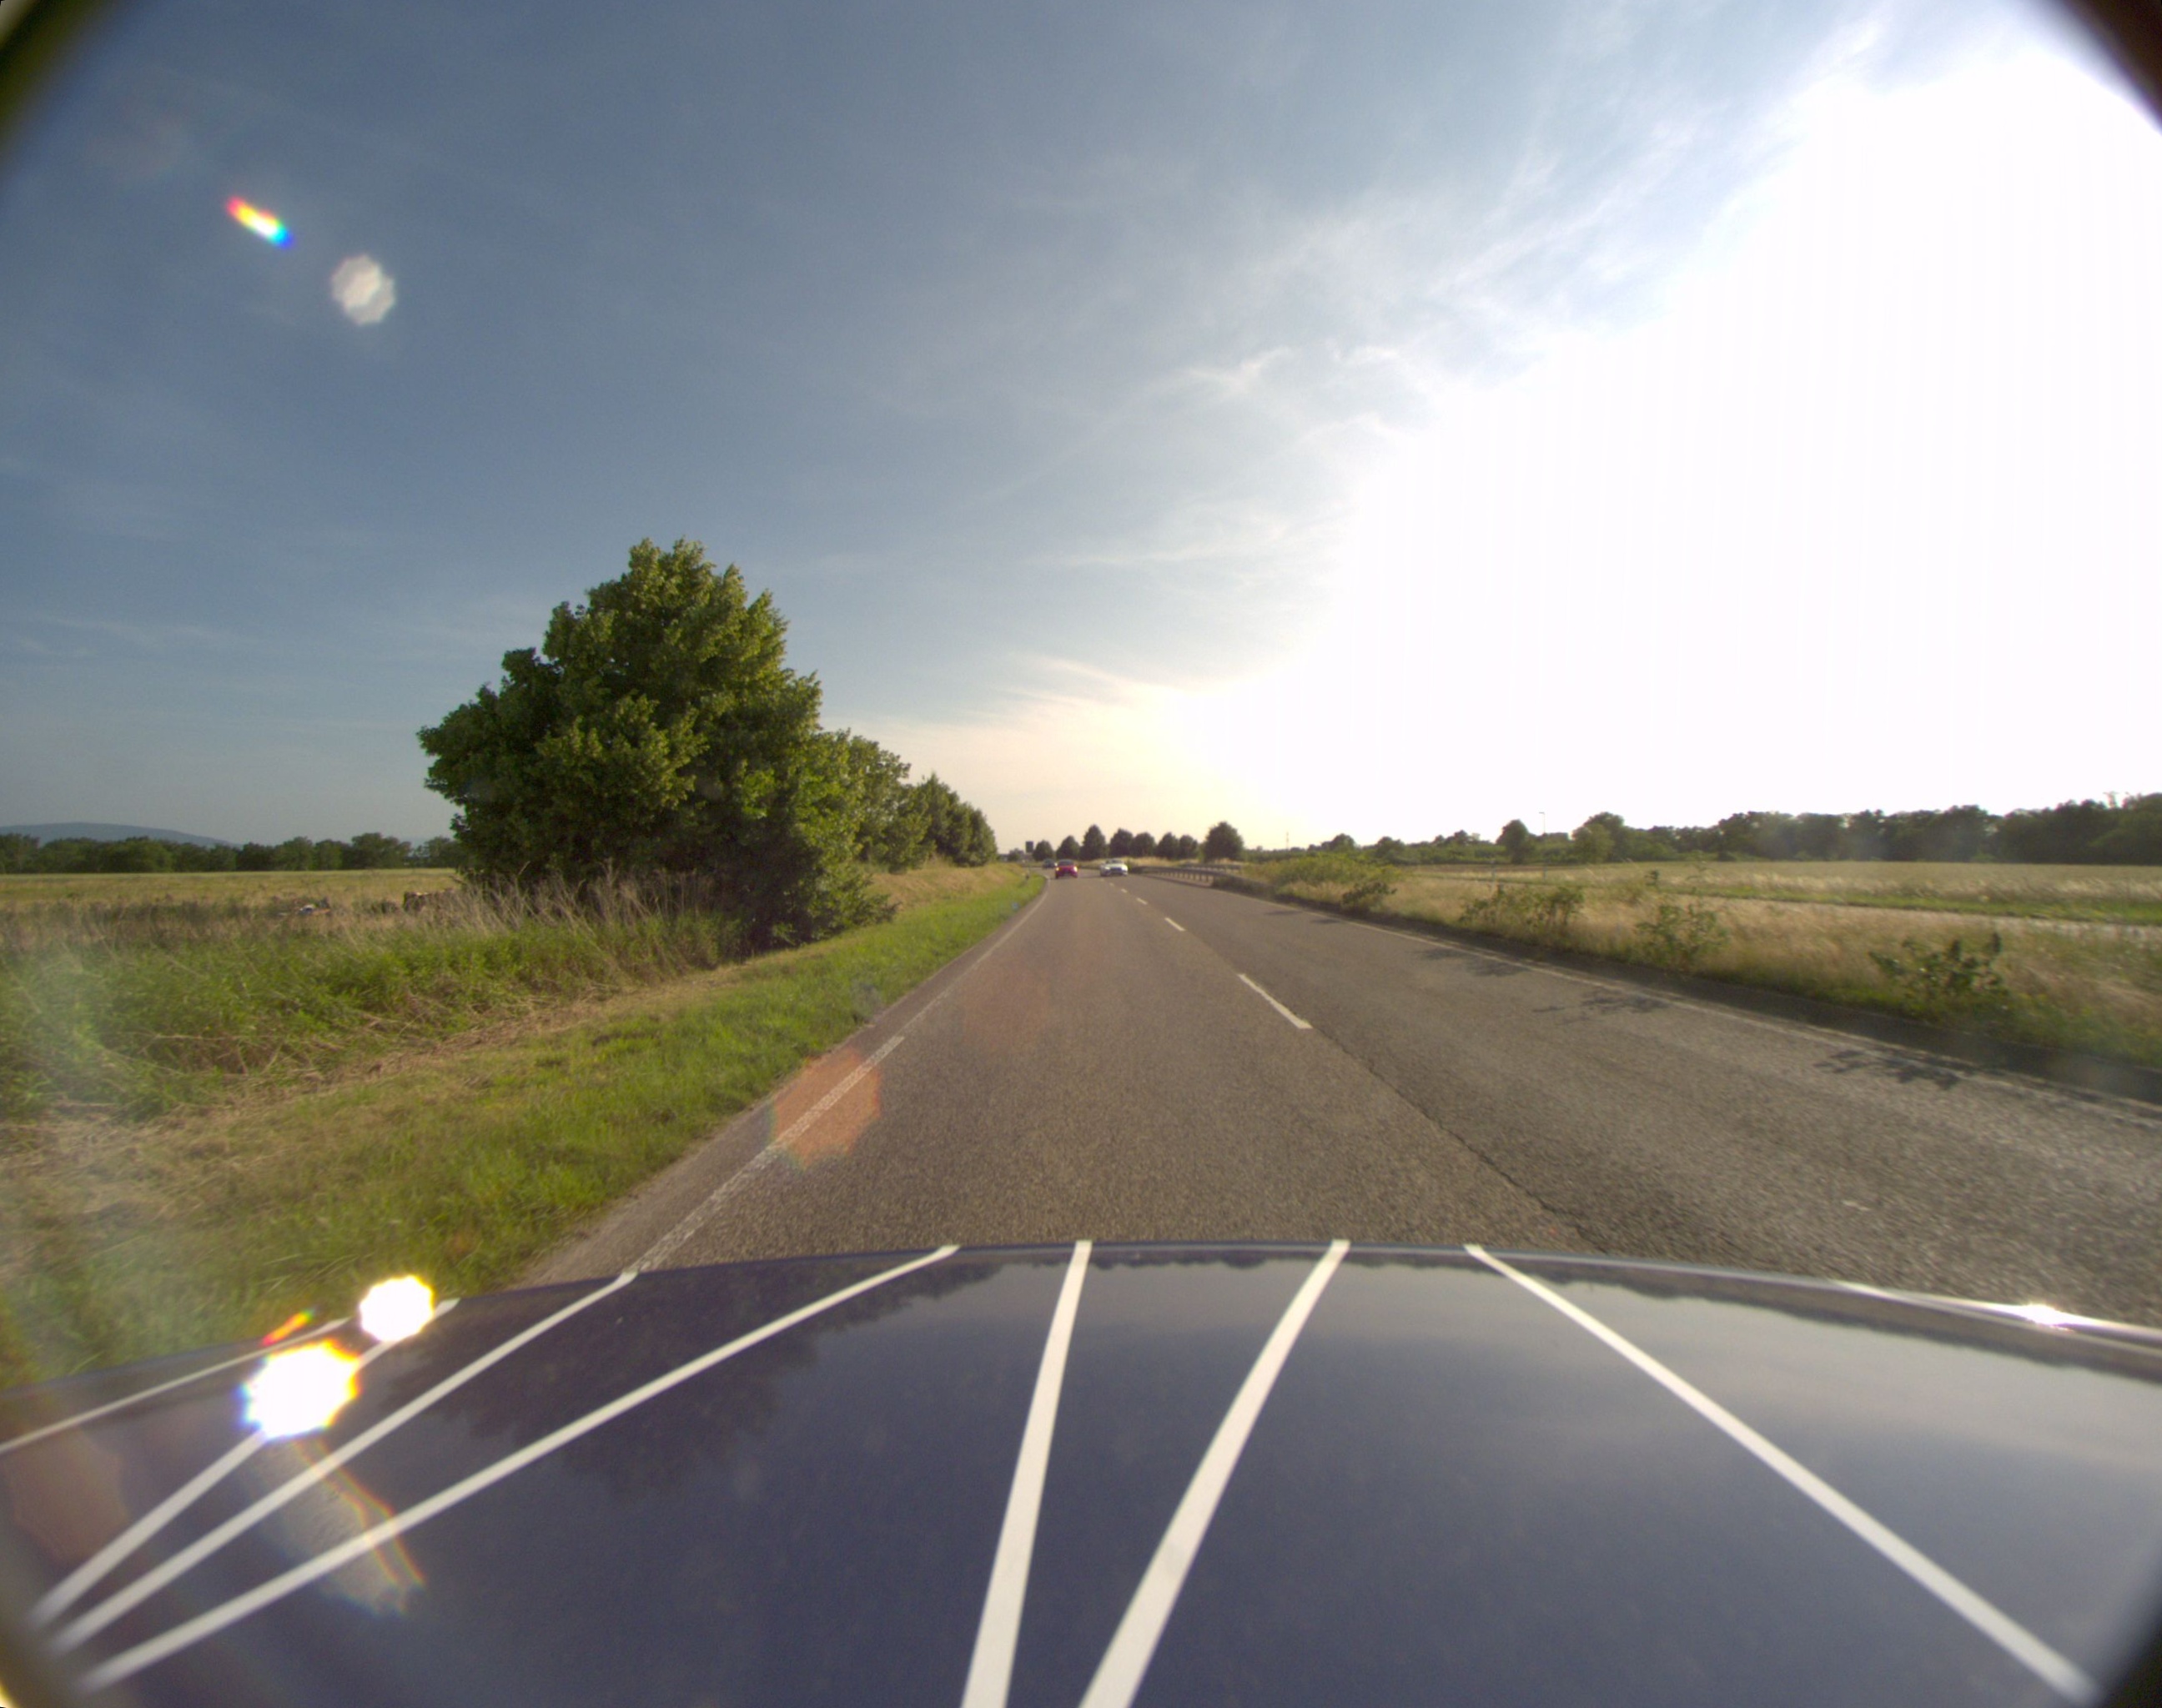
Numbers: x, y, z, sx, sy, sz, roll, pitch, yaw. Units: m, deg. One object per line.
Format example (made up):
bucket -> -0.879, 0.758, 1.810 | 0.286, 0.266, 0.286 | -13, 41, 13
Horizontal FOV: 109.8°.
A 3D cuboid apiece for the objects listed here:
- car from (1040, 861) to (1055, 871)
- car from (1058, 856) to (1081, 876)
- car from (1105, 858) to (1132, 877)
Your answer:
car -> -5.078, 1.801, 115.158 | 1.753, 1.521, 3.996 | -2, 0, -10
car -> -0.910, 0.972, 62.023 | 1.665, 1.455, 3.954 | -2, 1, 1
car -> 3.011, 1.090, 61.937 | 1.876, 1.390, 4.203 | -2, 0, -2
